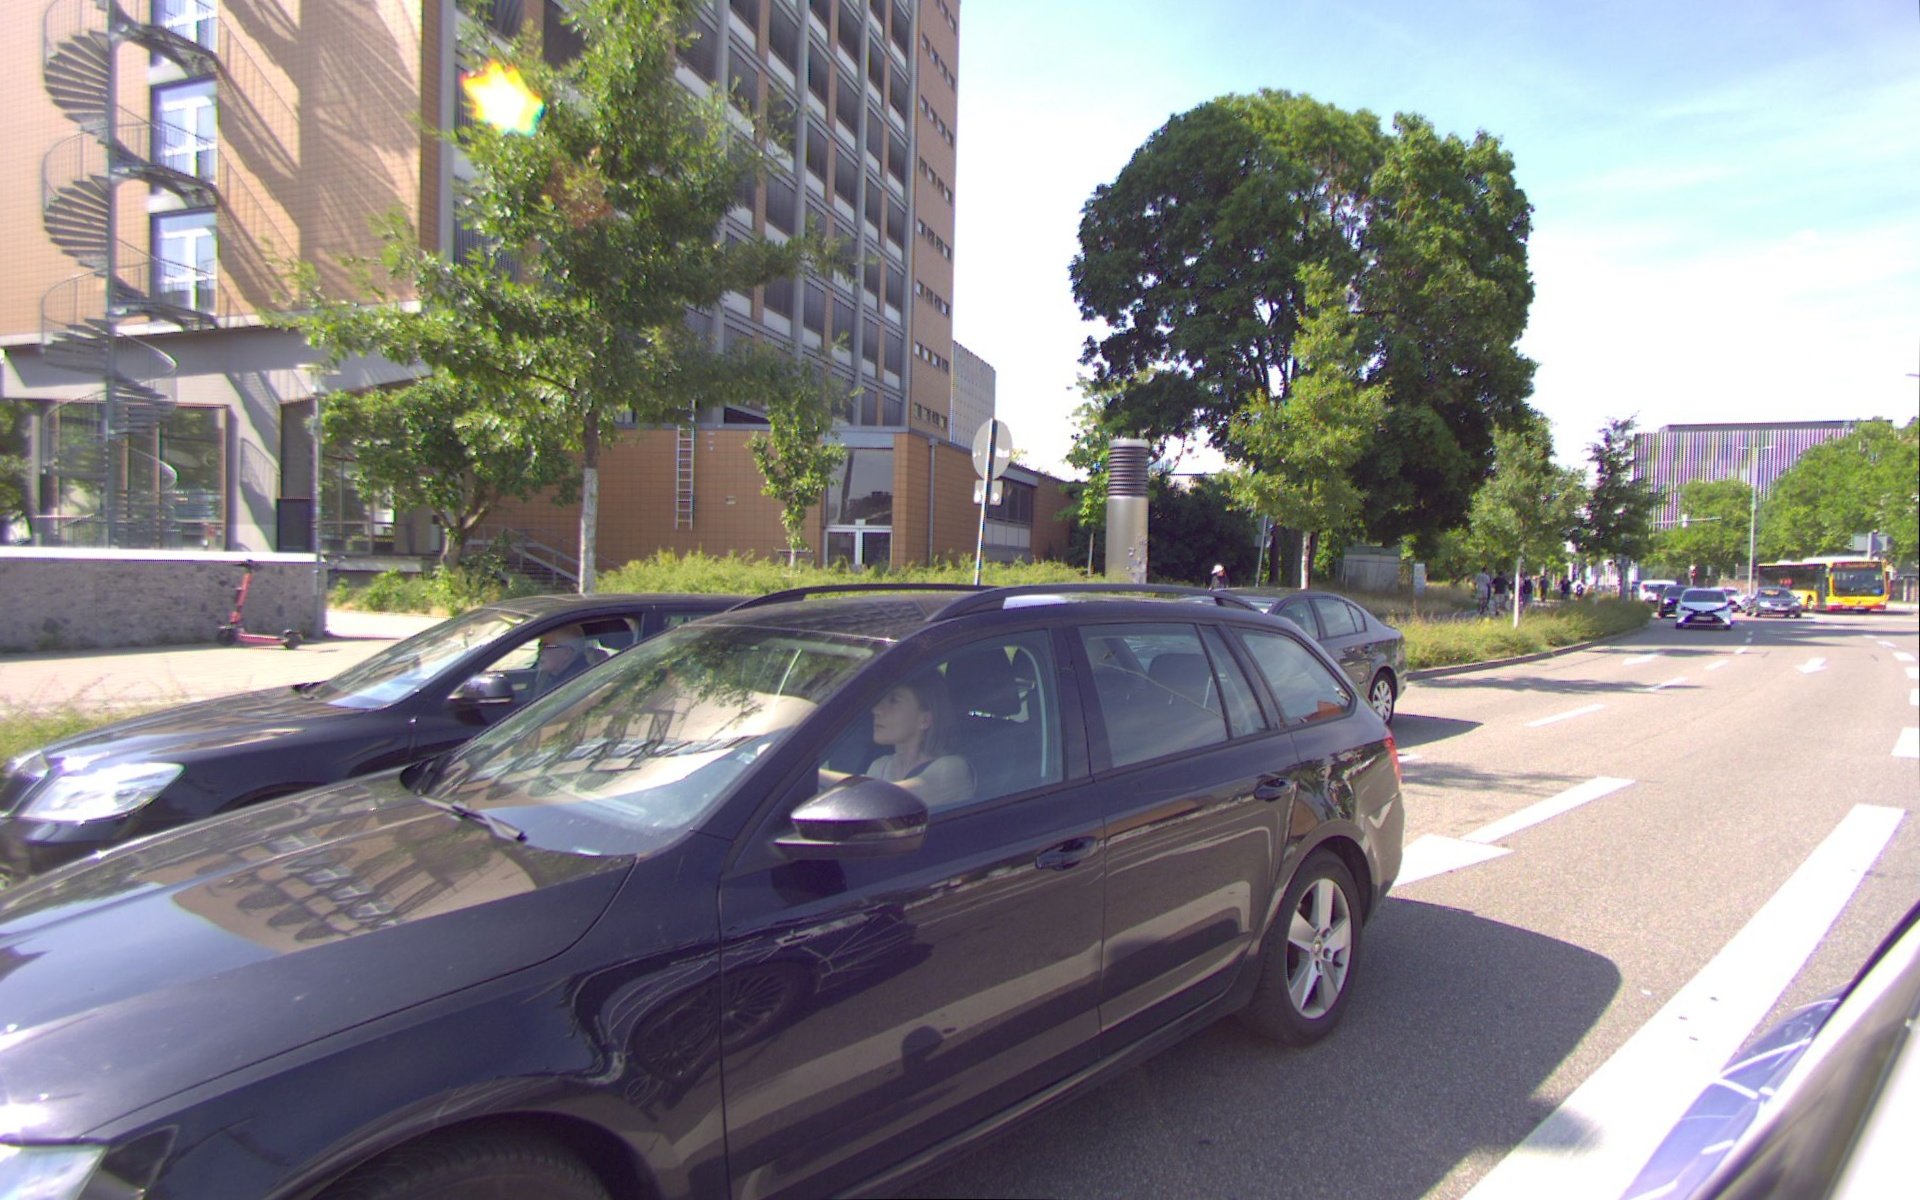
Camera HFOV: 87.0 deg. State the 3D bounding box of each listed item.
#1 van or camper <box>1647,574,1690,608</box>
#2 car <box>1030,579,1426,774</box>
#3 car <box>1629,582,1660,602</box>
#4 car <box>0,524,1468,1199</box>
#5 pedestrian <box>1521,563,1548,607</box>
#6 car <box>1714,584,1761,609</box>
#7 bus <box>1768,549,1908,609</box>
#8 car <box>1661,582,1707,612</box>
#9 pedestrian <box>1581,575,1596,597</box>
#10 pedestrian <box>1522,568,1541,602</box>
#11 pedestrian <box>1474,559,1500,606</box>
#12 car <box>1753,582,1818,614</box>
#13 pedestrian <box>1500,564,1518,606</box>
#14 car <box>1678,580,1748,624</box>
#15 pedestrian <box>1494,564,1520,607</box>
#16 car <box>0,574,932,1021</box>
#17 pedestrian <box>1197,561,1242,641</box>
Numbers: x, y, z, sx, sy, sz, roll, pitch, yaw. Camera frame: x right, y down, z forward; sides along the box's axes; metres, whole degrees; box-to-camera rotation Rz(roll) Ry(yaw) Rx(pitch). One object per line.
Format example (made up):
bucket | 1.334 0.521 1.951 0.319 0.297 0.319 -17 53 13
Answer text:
van or camper | 42.159 -0.552 60.281 1.716 1.911 4.869 0 1 31
car | 2.788 0.541 9.852 4.453 1.453 1.632 -2 2 -43
car | 48.718 -0.595 72.071 1.478 1.310 3.452 2 2 28
car | -0.299 0.594 2.907 4.700 1.453 1.632 -2 2 -43
pedestrian | 22.679 -0.607 39.970 0.739 1.694 0.643 -1 4 -42
car | 44.638 -0.224 58.166 1.478 1.309 3.452 4 3 28
bus | 49.840 -1.225 57.928 2.768 3.076 12.043 2 2 25
car | 34.013 -0.172 47.604 1.399 1.311 3.542 2 2 31
pedestrian | 33.323 -0.736 53.671 0.639 1.145 0.744 3 3 32
pedestrian | 25.106 -0.661 44.482 0.638 1.464 0.564 3 3 28
pedestrian | 21.286 -0.700 40.872 0.719 1.859 0.643 -1 4 -42
car | 39.724 -0.128 48.788 1.636 1.442 4.080 0 1 28
pedestrian | 24.336 -0.669 44.870 0.638 1.785 0.470 3 3 28
car | 26.976 0.036 36.348 1.670 1.493 3.718 0 1 32
pedestrian | 21.760 -0.587 40.283 0.719 1.646 0.643 -1 4 -42
car | -2.280 0.621 5.424 1.700 1.447 4.328 2 1 44
pedestrian | 5.621 0.005 21.886 0.719 1.684 0.592 -1 4 -42
